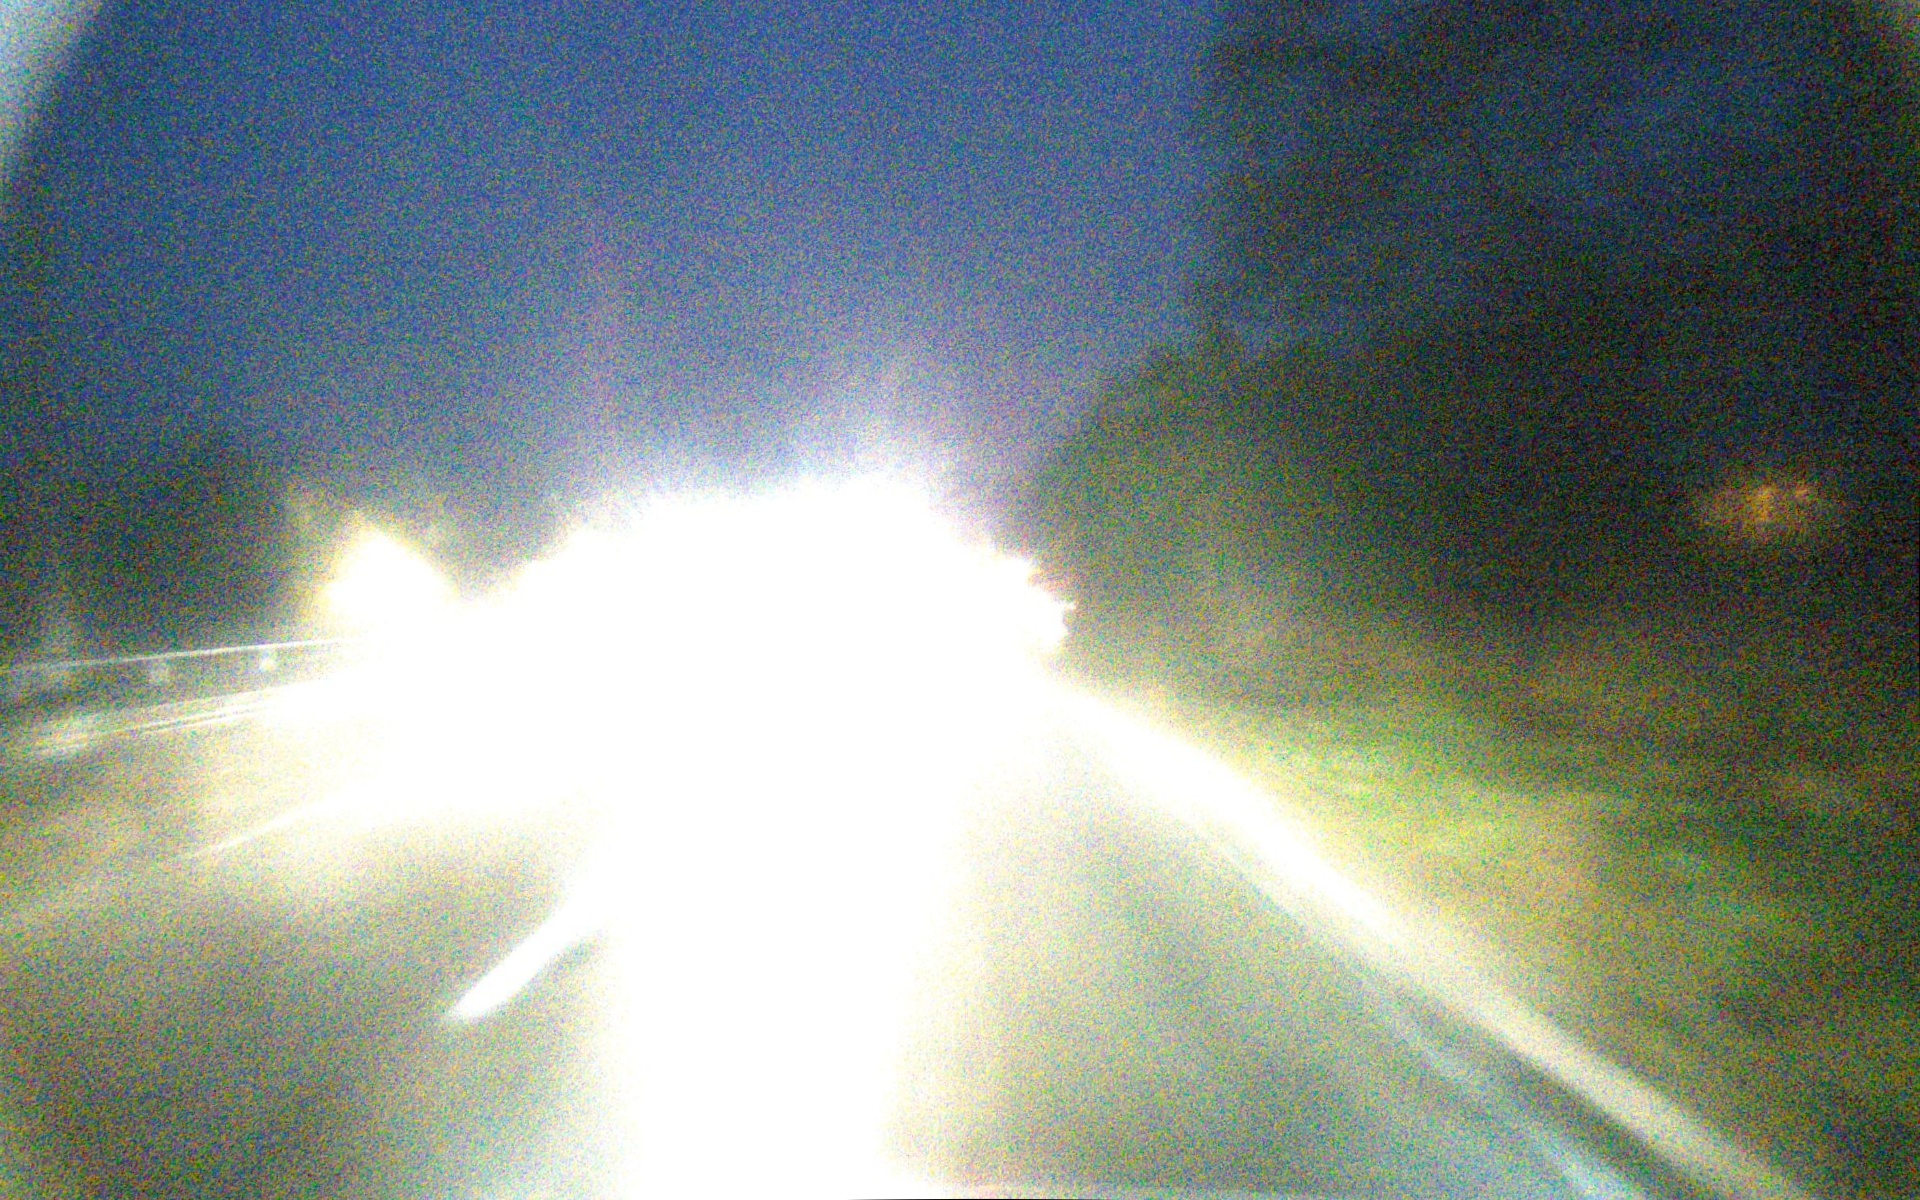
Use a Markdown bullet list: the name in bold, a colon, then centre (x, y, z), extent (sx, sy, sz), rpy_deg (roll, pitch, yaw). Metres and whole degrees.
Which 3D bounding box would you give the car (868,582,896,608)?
- **car**: centre (-5.225, -0.349, 110.829), extent (1.759, 1.564, 3.799), rpy_deg (-2, 1, -2)

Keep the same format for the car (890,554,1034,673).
- **car**: centre (0.024, 0.212, 30.291), extent (2.407, 1.992, 4.911), rpy_deg (1, 0, 0)

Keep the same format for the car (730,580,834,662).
- **car**: centre (-3.694, 0.384, 35.052), extent (1.729, 1.546, 4.489), rpy_deg (-3, 1, -1)
